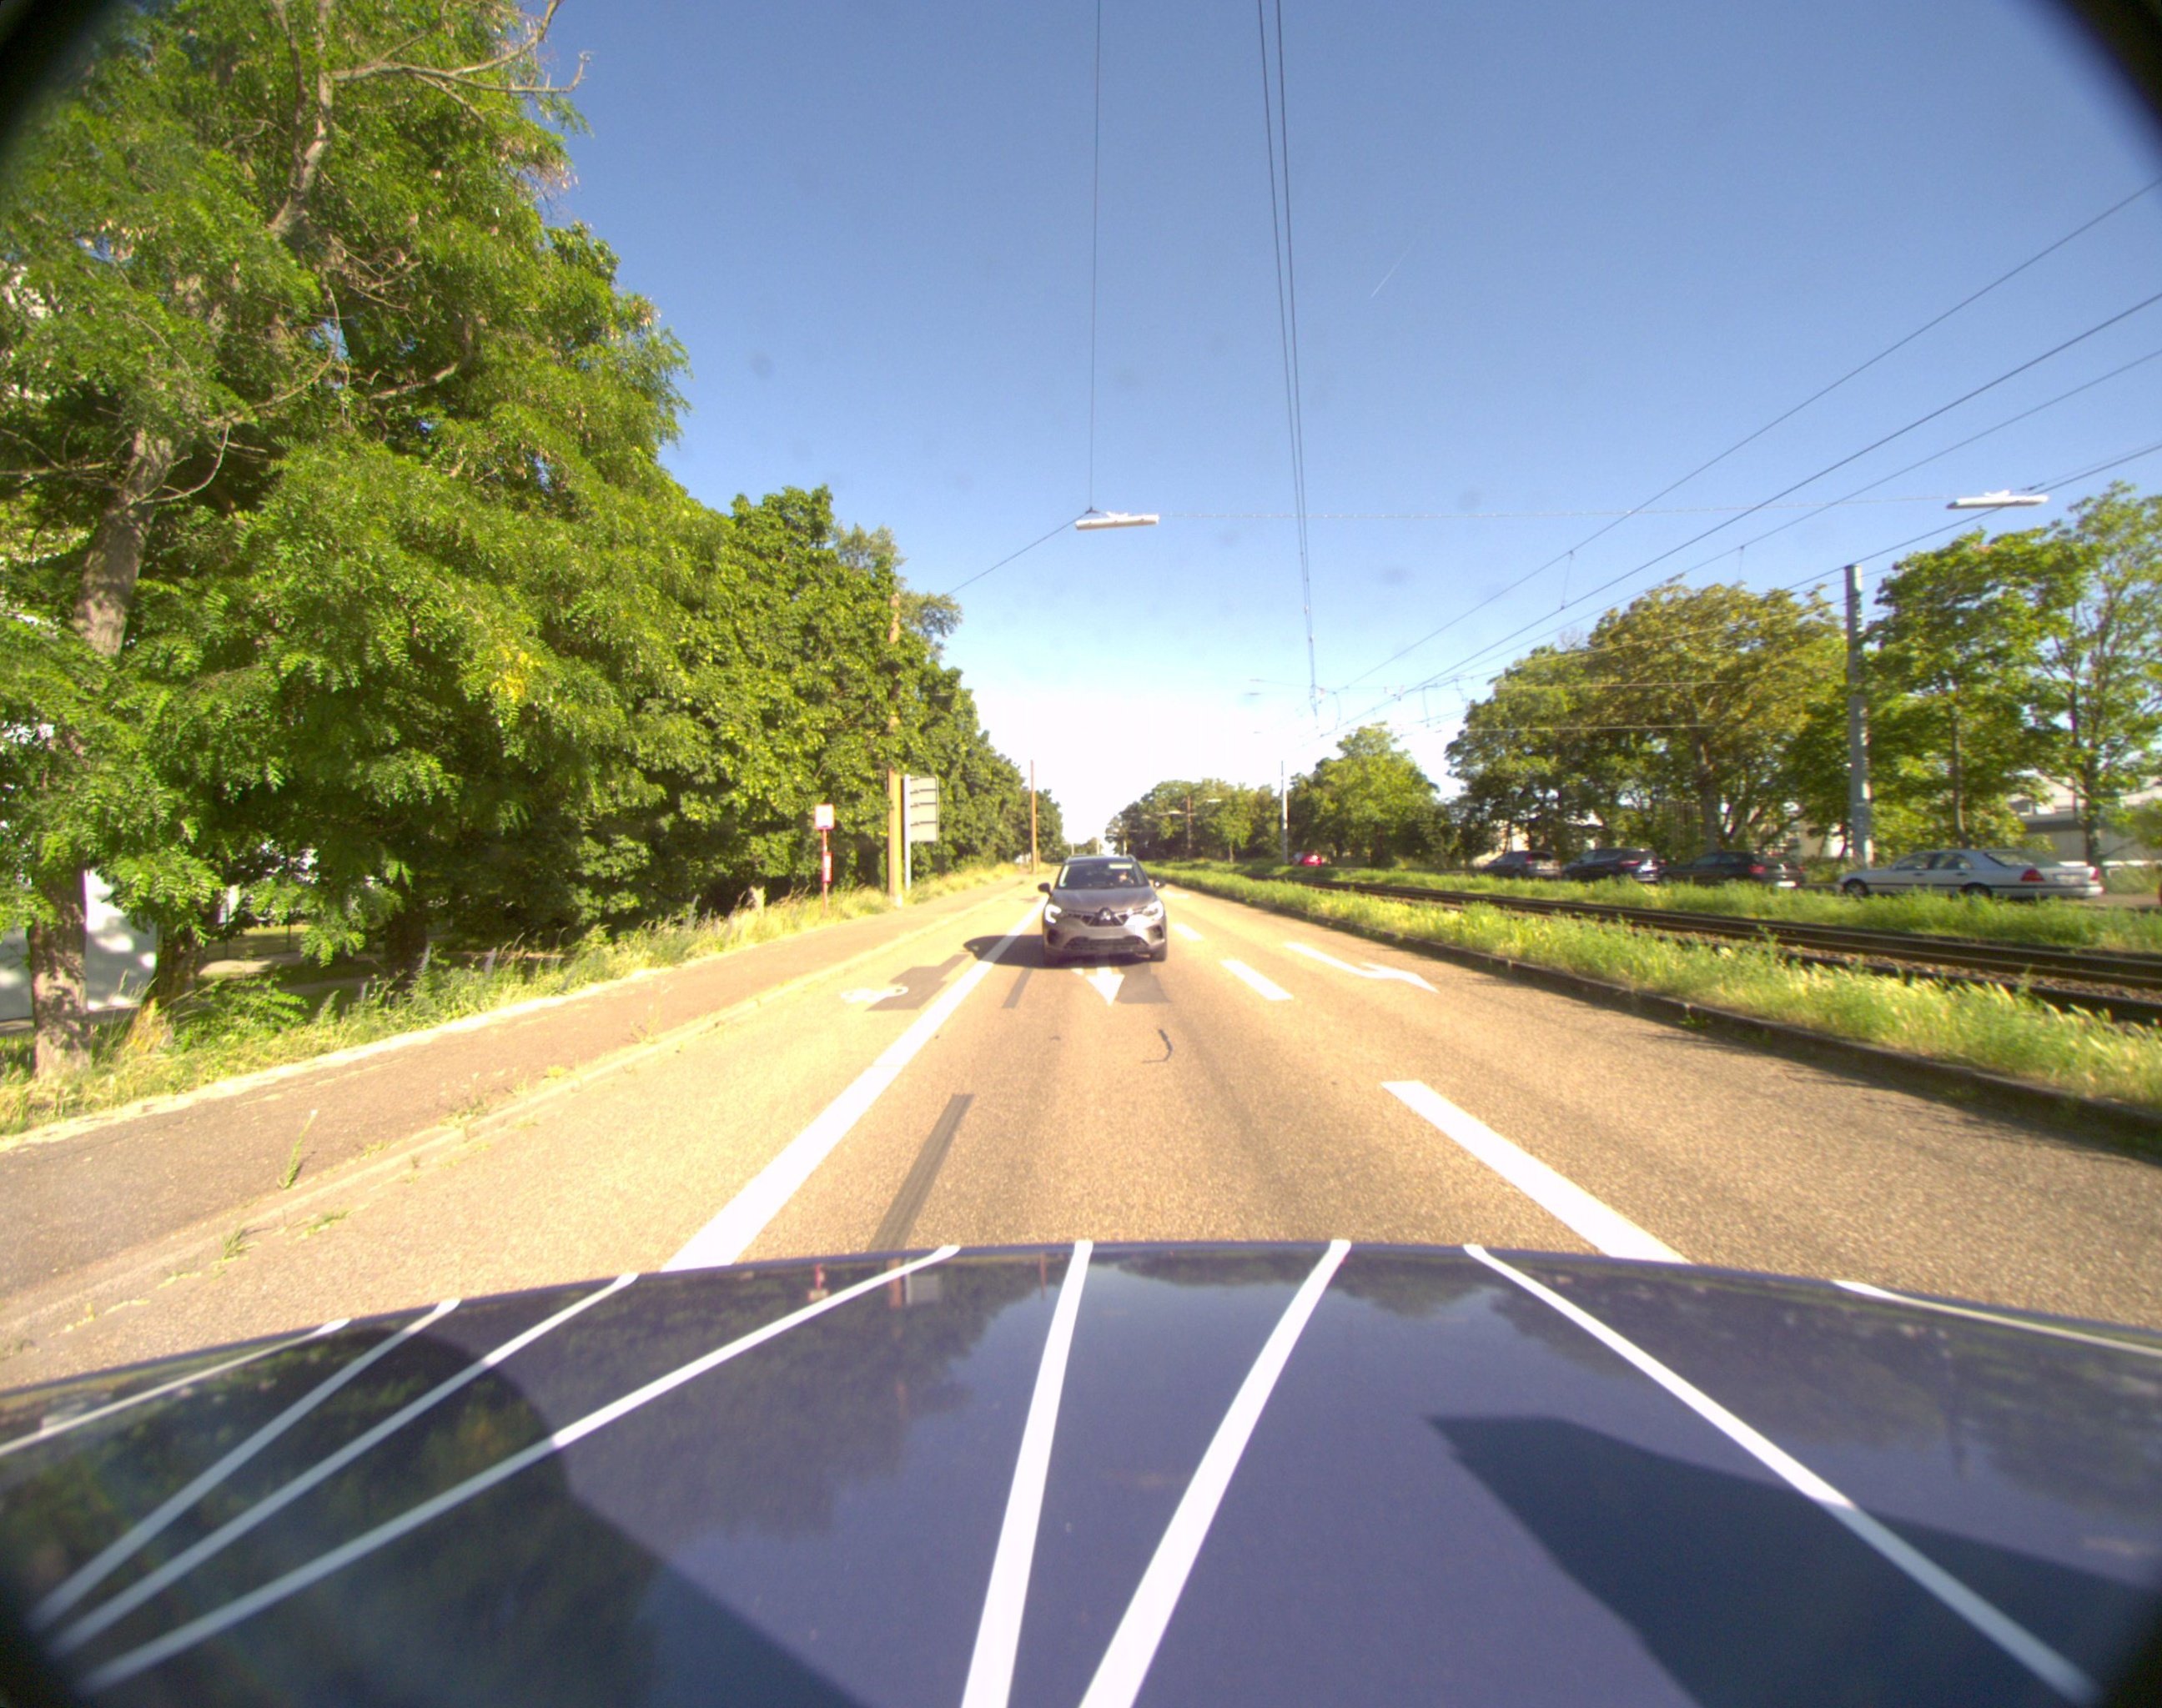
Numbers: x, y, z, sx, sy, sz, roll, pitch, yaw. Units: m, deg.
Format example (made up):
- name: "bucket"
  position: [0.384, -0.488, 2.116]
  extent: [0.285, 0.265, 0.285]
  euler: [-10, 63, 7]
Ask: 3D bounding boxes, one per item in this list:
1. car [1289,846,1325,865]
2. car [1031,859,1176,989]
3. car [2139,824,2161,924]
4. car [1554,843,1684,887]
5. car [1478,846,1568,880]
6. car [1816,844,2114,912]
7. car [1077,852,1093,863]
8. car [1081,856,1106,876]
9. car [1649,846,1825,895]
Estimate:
- name: "car"
  position: [21.011, 0.105, 70.838]
  extent: [2.009, 1.692, 4.466]
  euler: [-1, 0, -1]
- name: "car"
  position: [0.299, 0.928, 12.093]
  extent: [1.822, 1.589, 4.413]
  euler: [-2, 0, 0]
- name: "car"
  position: [21.283, 0.339, 12.125]
  extent: [2.202, 1.880, 4.792]
  euler: [-2, 0, 3]
- name: "car"
  position: [21.375, 0.414, 30.452]
  extent: [1.999, 1.565, 4.434]
  euler: [-1, 0, -1]
- name: "car"
  position: [21.485, 0.396, 37.160]
  extent: [1.740, 1.485, 4.327]
  euler: [-3, 0, -1]
- name: "car"
  position: [21.398, 0.524, 18.790]
  extent: [1.933, 1.429, 4.695]
  euler: [-1, 0, 1]
- name: "car"
  position: [0.647, 0.504, 119.601]
  extent: [2.000, 1.577, 3.997]
  euler: [-2, 0, -6]
- name: "car"
  position: [0.960, 0.942, 59.698]
  extent: [1.832, 1.477, 4.000]
  euler: [-1, 0, 1]
- name: "car"
  position: [21.407, 0.514, 25.092]
  extent: [1.998, 1.429, 4.415]
  euler: [-1, 0, 1]
